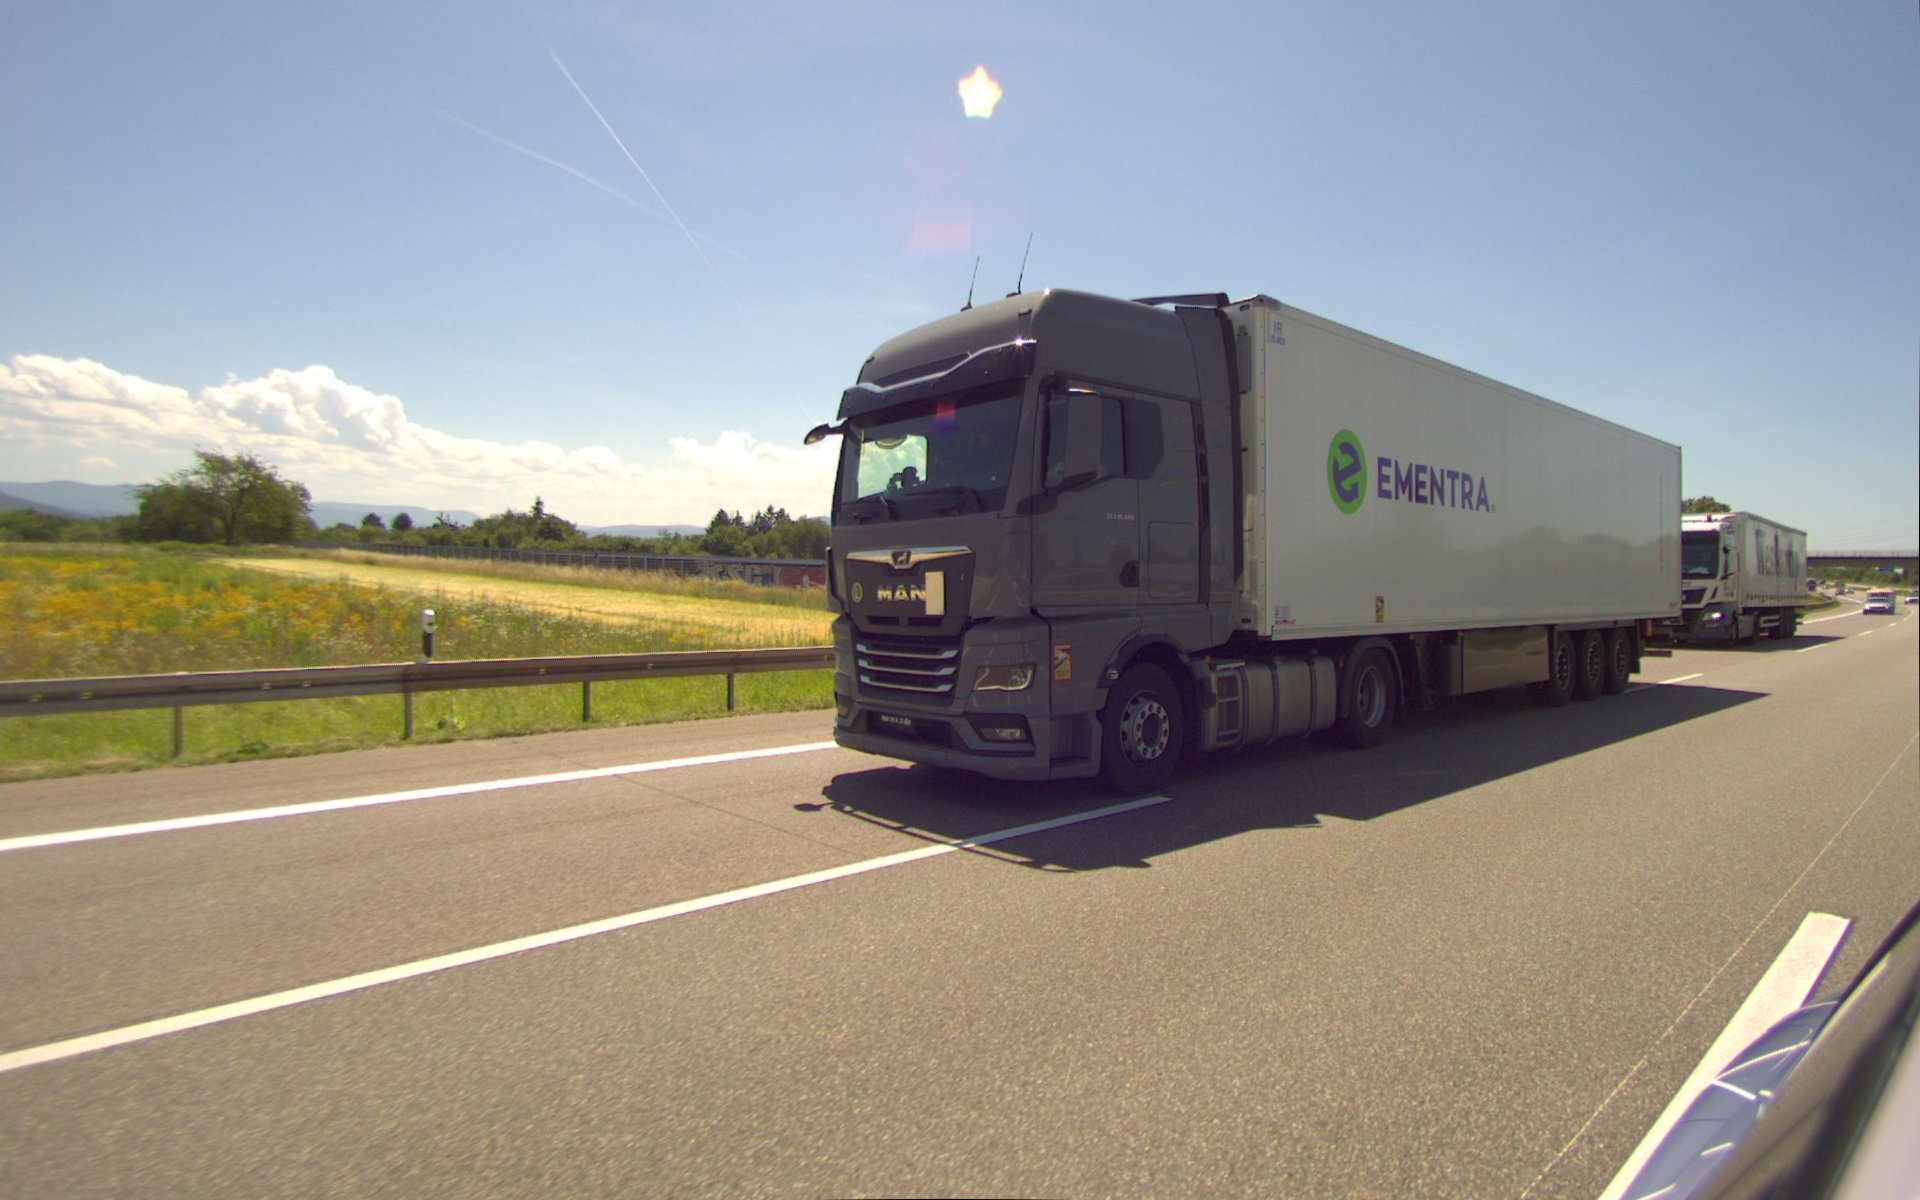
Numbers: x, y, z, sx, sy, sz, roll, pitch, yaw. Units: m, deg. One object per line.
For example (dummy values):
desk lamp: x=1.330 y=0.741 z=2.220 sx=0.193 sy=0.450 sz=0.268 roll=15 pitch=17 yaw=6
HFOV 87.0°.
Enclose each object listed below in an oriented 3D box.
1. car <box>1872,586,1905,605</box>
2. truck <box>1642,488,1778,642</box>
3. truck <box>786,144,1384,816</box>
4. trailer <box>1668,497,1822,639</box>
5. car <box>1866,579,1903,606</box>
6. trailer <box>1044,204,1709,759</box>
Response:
car: x=76.981 y=-0.380 z=83.951 sx=1.777 sy=1.494 sz=3.942 roll=2 pitch=2 yaw=40
truck: x=22.943 y=-0.986 z=30.868 sx=5.005 sy=4.310 sz=2.602 roll=0 pitch=0 yaw=-44
truck: x=1.283 y=-0.801 z=9.215 sx=4.888 sy=4.310 sz=2.913 roll=0 pitch=0 yaw=-41
trailer: x=28.401 y=-1.060 z=36.249 sx=13.417 sy=4.305 sz=2.597 roll=-1 pitch=1 yaw=-44
car: x=81.130 y=-0.714 z=88.864 sx=2.180 sy=2.294 sz=4.880 roll=2 pitch=2 yaw=40
trailer: x=6.990 y=-1.072 z=14.240 sx=13.743 sy=4.716 sz=2.906 roll=-1 pitch=0 yaw=-41
